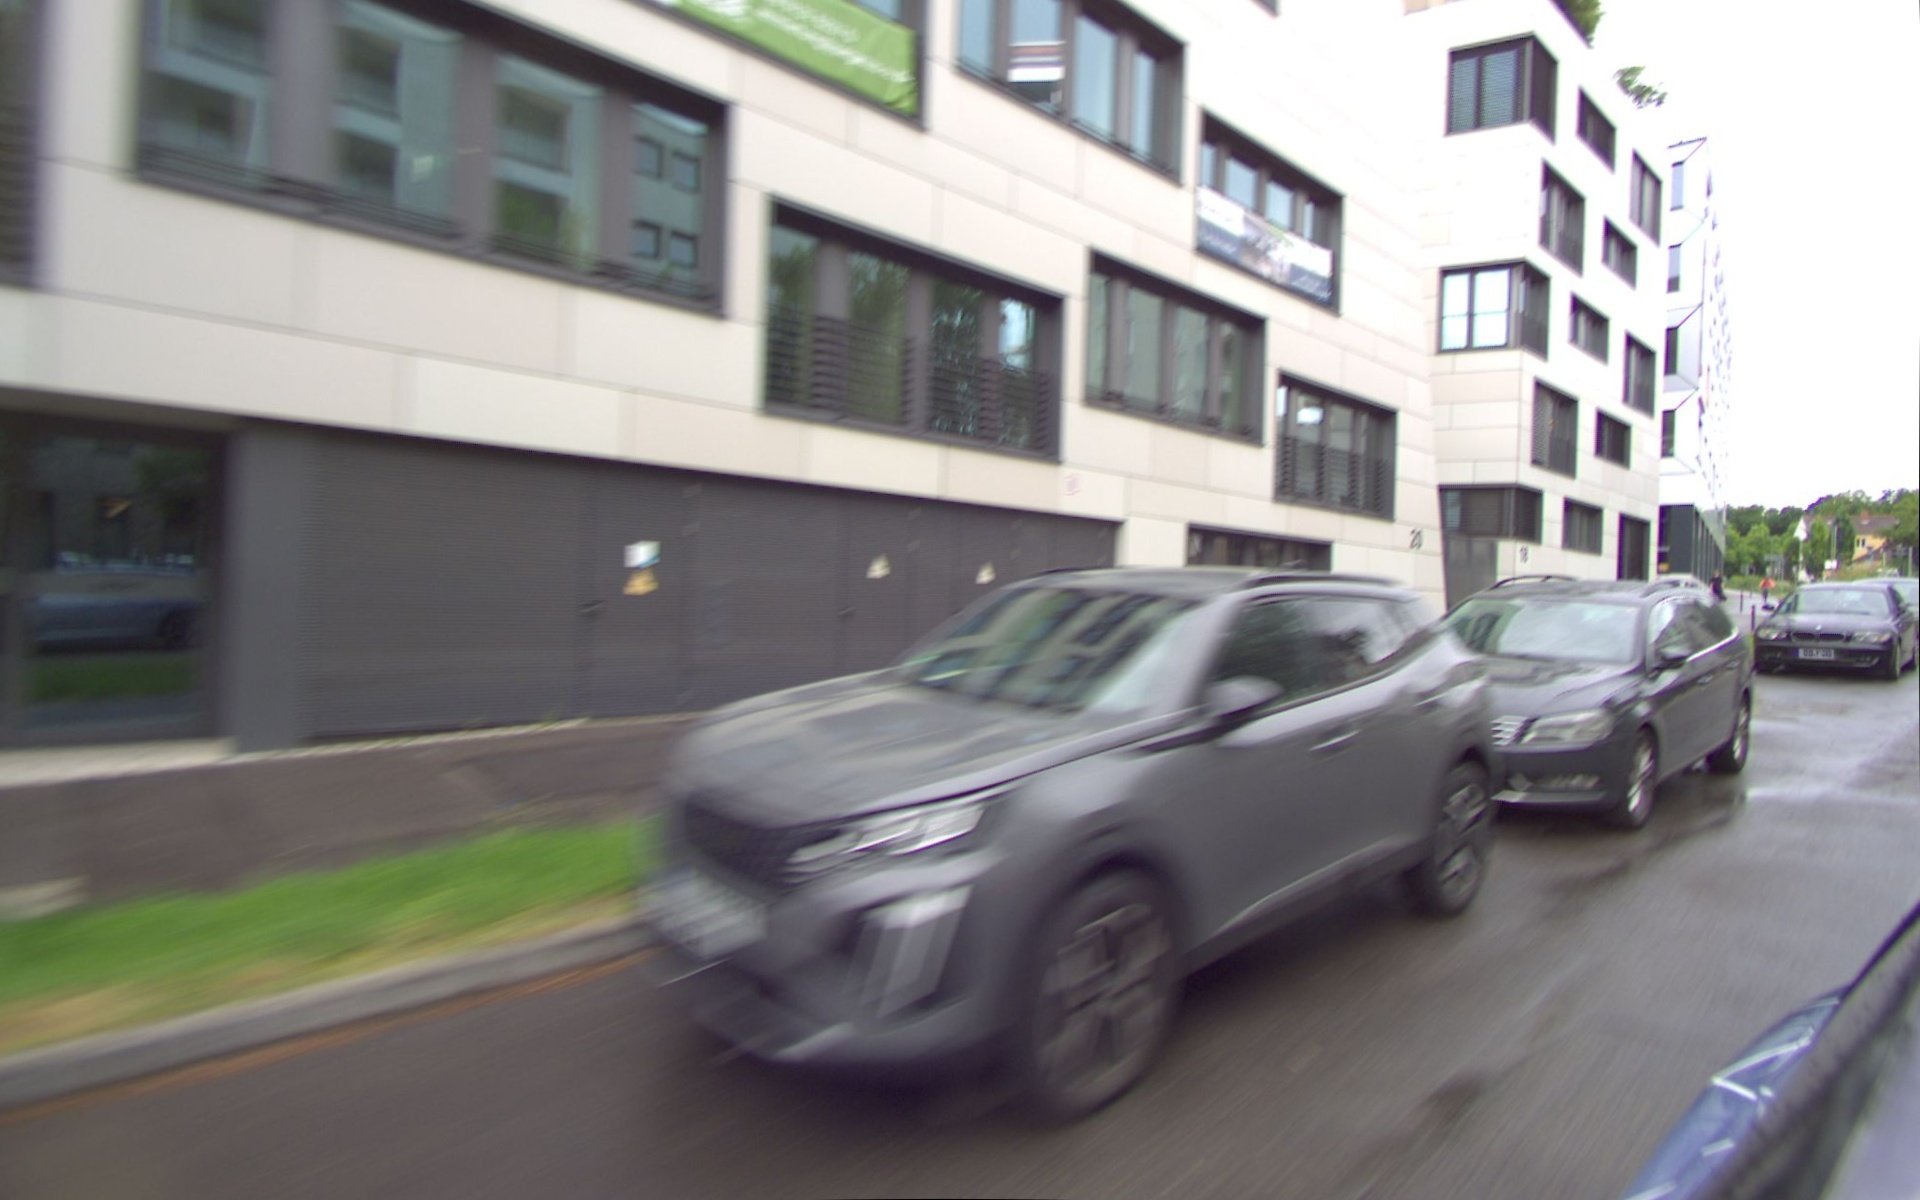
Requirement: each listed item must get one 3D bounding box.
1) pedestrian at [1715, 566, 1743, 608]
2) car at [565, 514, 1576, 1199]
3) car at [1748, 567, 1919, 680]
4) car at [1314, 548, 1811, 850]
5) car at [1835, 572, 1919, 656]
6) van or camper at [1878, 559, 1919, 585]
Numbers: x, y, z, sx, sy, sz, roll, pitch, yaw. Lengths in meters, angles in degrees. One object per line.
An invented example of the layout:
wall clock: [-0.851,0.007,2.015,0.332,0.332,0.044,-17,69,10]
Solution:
pedestrian: [34.376,-0.598,45.245,0.823,1.817,1.189,2,3,44]
car: [0.839,0.537,4.232,4.298,1.625,1.752,-3,3,-41]
car: [14.248,0.266,16.164,4.418,1.502,1.811,-3,3,-41]
car: [4.732,0.426,7.594,4.763,1.582,1.811,-3,3,-41]
car: [18.248,0.226,19.482,3.595,1.497,1.549,-1,1,-40]
van or camper: [104.606,-3.115,112.632,2.327,2.799,6.080,0,2,29]
